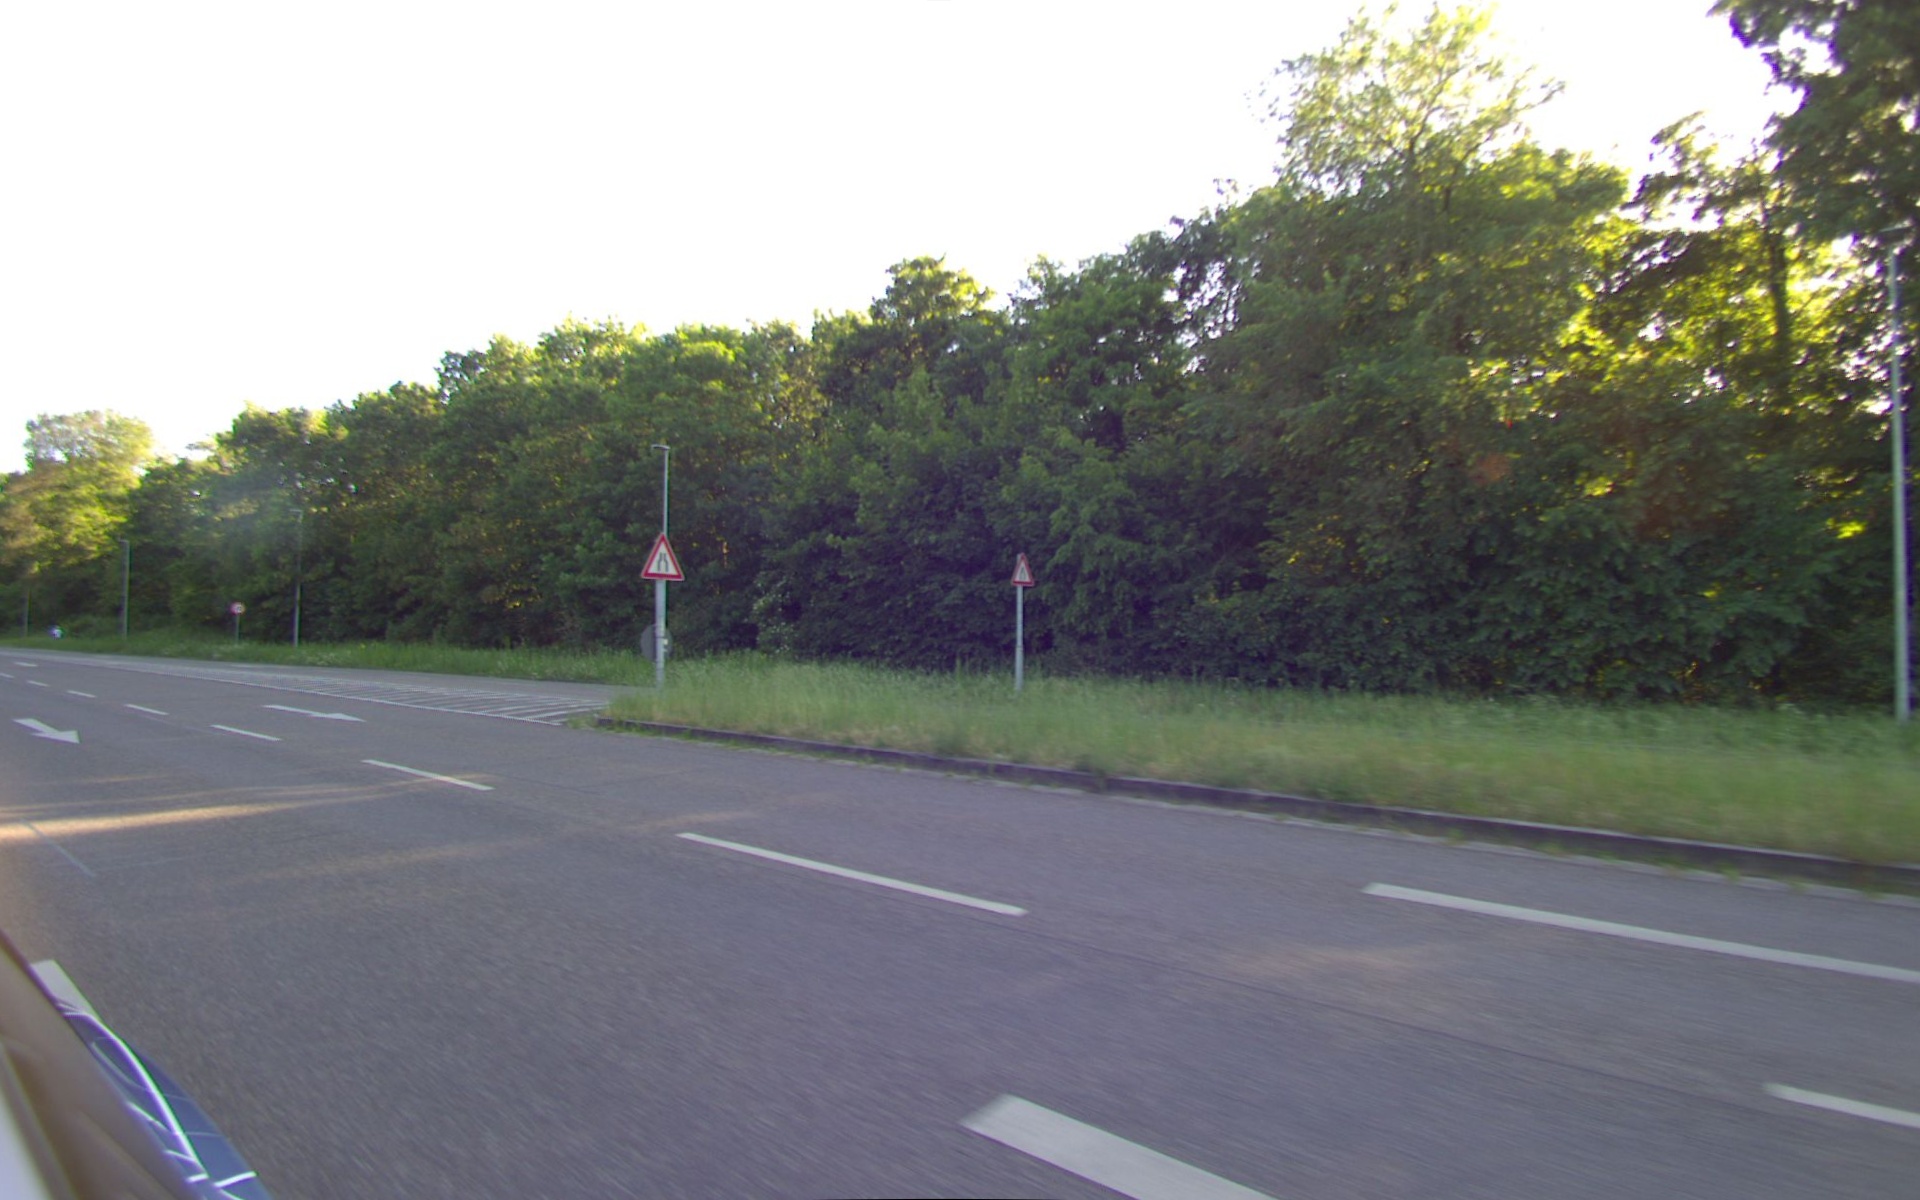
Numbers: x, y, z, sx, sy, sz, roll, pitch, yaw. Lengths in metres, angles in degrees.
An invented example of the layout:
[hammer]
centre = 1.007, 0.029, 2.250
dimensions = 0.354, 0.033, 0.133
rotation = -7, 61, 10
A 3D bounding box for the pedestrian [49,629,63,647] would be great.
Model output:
[pedestrian]
centre = -79.666, 3.373, 89.200
dimensions = 0.825, 1.577, 0.704
rotation = -2, -4, 41
